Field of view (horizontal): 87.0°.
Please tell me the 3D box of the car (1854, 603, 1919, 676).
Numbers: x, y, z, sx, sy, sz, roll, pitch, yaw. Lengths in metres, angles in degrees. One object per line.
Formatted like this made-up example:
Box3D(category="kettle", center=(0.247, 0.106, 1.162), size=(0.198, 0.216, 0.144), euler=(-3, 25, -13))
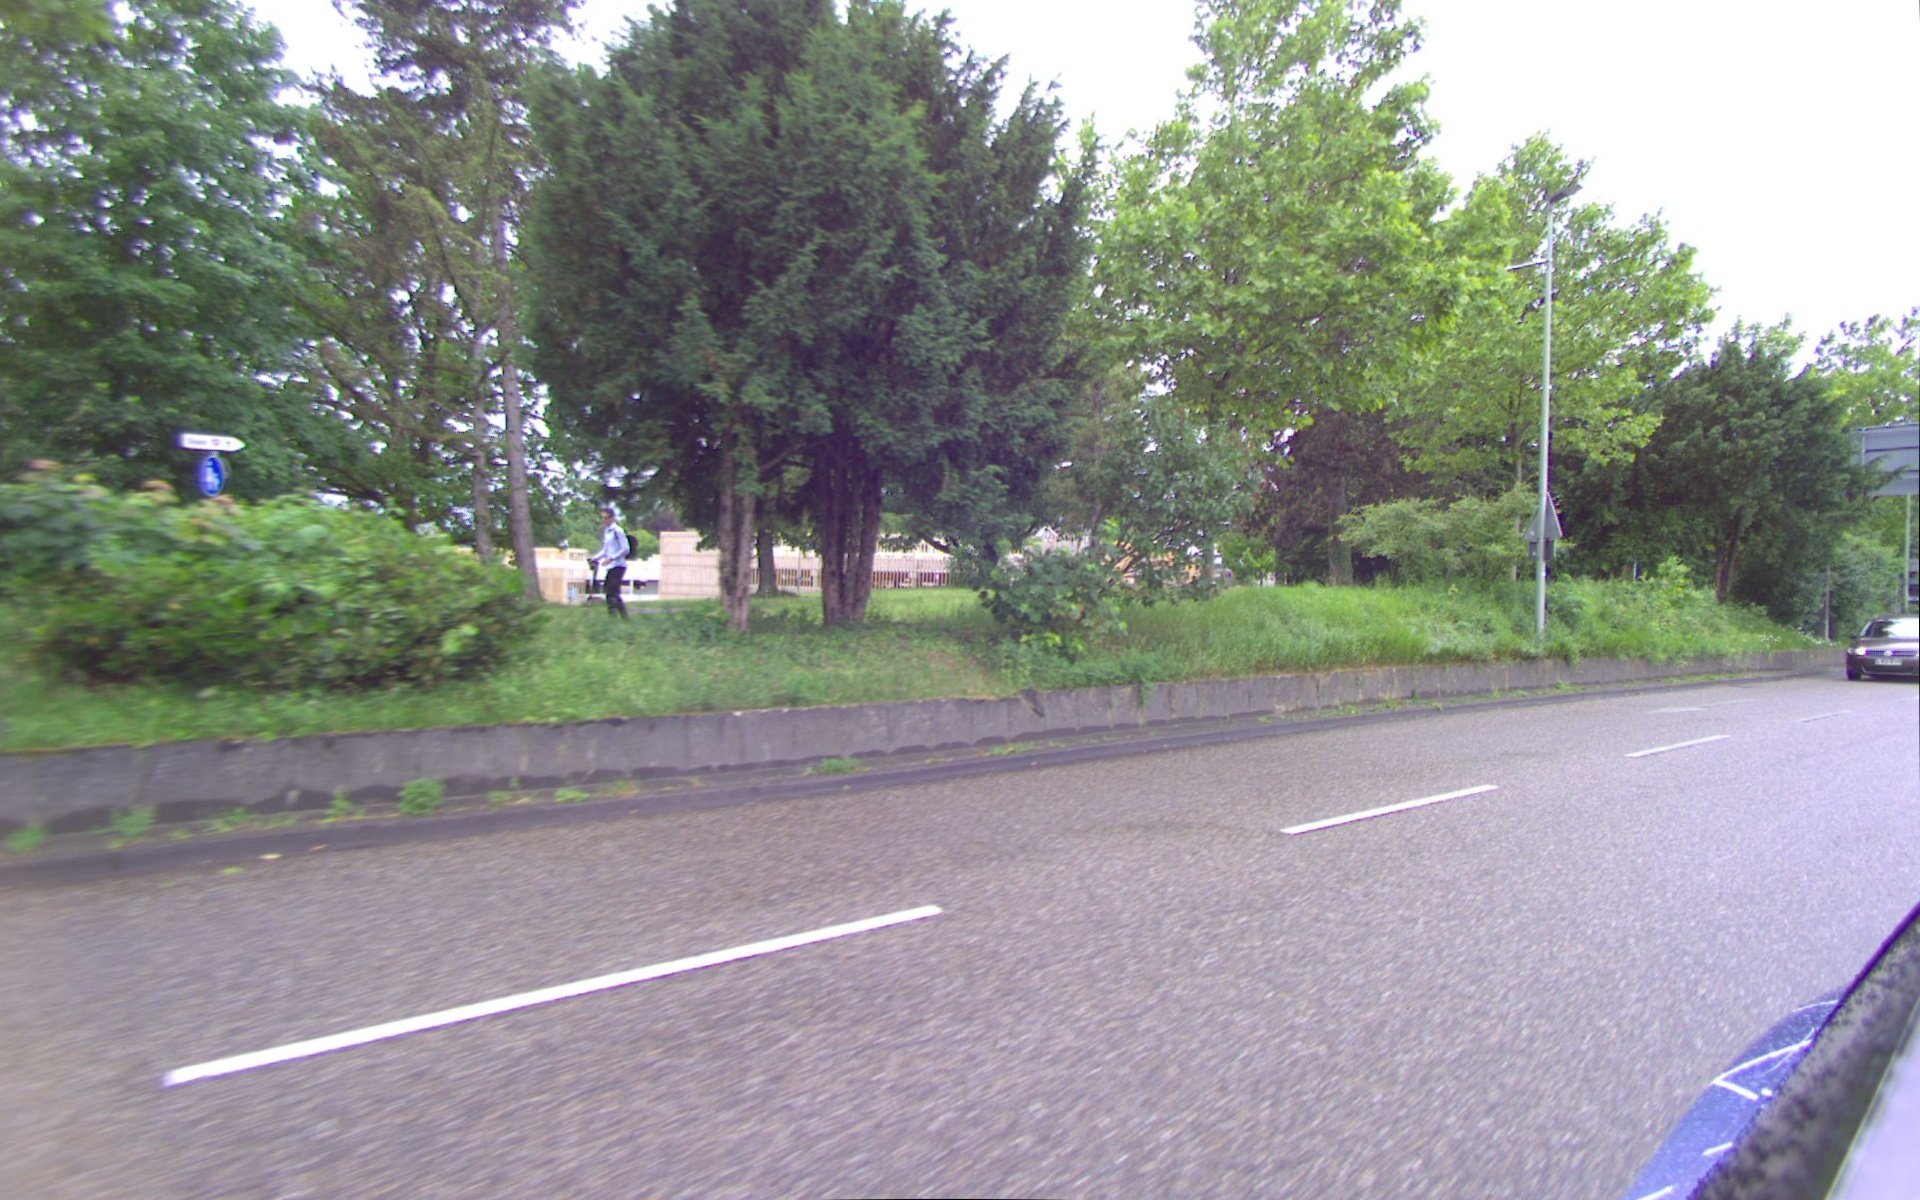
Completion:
Box3D(category="car", center=(23.112, 0.953, 24.236), size=(3.905, 1.630, 1.752), euler=(2, -1, -36))
